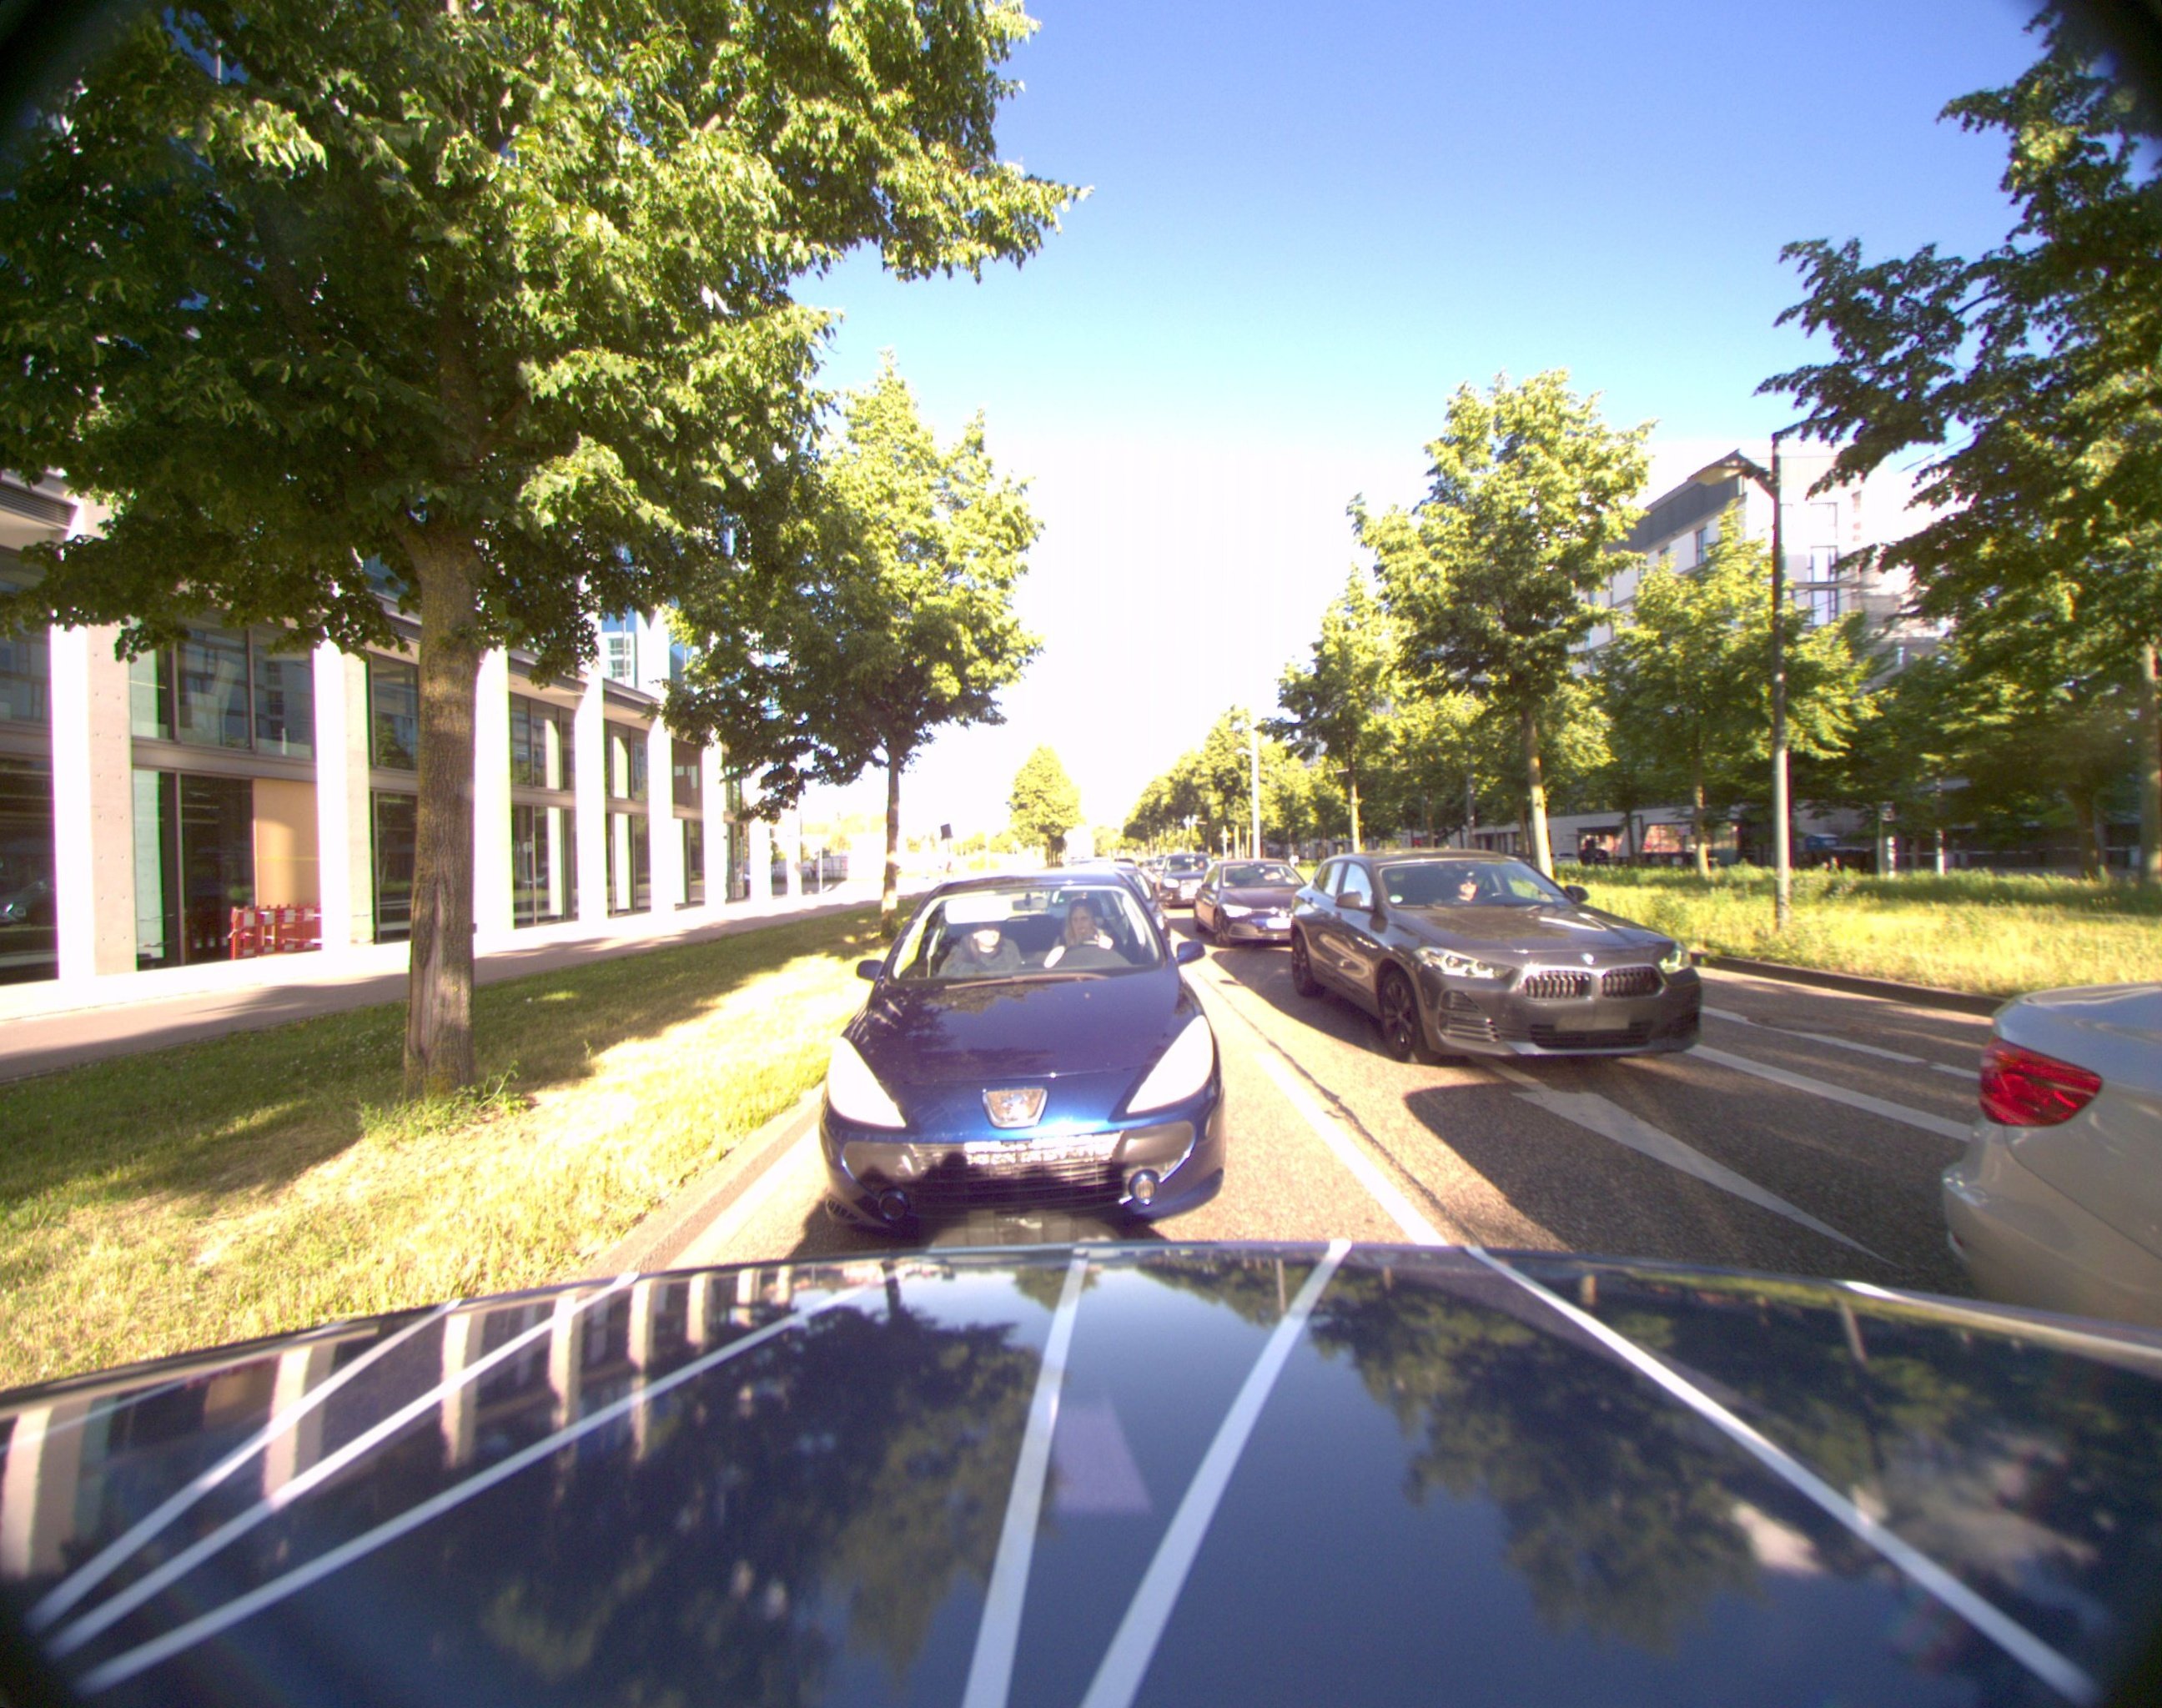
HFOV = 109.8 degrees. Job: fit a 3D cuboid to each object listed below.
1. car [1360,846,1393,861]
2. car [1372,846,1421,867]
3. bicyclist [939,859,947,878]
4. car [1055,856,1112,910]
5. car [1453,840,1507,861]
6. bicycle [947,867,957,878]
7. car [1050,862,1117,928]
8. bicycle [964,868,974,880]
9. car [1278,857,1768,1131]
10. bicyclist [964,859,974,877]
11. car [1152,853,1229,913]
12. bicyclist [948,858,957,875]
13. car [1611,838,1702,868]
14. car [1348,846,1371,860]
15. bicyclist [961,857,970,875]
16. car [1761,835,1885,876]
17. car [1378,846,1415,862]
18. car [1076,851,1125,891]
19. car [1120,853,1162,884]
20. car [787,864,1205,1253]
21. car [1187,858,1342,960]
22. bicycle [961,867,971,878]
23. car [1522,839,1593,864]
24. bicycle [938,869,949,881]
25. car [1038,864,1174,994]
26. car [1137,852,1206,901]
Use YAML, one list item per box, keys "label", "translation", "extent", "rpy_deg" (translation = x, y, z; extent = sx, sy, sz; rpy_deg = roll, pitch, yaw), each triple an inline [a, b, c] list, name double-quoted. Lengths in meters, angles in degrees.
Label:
- label: "car"
  translation: [34.707, -0.063, 89.417]
  extent: [2.012, 1.689, 4.791]
  rpy_deg: [-1, 0, -1]
- label: "car"
  translation: [24.440, 0.153, 58.967]
  extent: [1.858, 1.528, 4.735]
  rpy_deg: [-1, 0, 1]
- label: "bicyclist"
  translation: [-9.678, 1.002, 53.362]
  extent: [0.448, 1.282, 0.418]
  rpy_deg: [-2, 1, 1]
- label: "car"
  translation: [0.098, 0.893, 25.119]
  extent: [1.705, 1.591, 3.785]
  rpy_deg: [-1, 0, 1]
- label: "car"
  translation: [34.637, -0.282, 66.110]
  extent: [2.012, 1.689, 4.791]
  rpy_deg: [-1, 0, -3]
- label: "bicycle"
  translation: [-9.733, 1.386, 57.533]
  extent: [0.464, 0.813, 1.344]
  rpy_deg: [-2, 1, 1]
- label: "car"
  translation: [0.083, 0.907, 18.214]
  extent: [1.407, 1.326, 3.785]
  rpy_deg: [-1, 0, 1]
- label: "bicycle"
  translation: [-7.900, 1.390, 53.672]
  extent: [0.464, 0.813, 1.344]
  rpy_deg: [-2, 1, 1]
- label: "car"
  translation: [3.080, 0.822, 6.411]
  extent: [1.812, 1.513, 4.029]
  rpy_deg: [-1, 0, 1]
- label: "bicyclist"
  translation: [-7.928, 0.967, 53.698]
  extent: [0.534, 1.210, 0.507]
  rpy_deg: [-2, 1, 1]
- label: "car"
  translation: [3.177, 0.787, 22.755]
  extent: [1.812, 1.581, 4.165]
  rpy_deg: [-1, 0, 2]
- label: "bicyclist"
  translation: [-9.709, 0.956, 57.499]
  extent: [0.534, 1.282, 0.457]
  rpy_deg: [-2, 1, 1]
- label: "car"
  translation: [34.424, -0.047, 45.647]
  extent: [1.858, 1.674, 4.792]
  rpy_deg: [-1, 0, 1]
- label: "car"
  translation: [34.574, -0.172, 94.376]
  extent: [1.601, 1.659, 3.743]
  rpy_deg: [-1, 0, 1]
- label: "bicyclist"
  translation: [-8.771, 0.916, 57.903]
  extent: [0.534, 1.282, 0.521]
  rpy_deg: [-2, 1, 1]
- label: "car"
  translation: [34.163, 0.067, 35.164]
  extent: [1.858, 1.739, 4.000]
  rpy_deg: [-1, 0, 1]
- label: "car"
  translation: [34.674, -0.012, 83.610]
  extent: [2.012, 1.689, 4.791]
  rpy_deg: [-1, 0, -1]
- label: "car"
  translation: [0.809, 0.718, 34.701]
  extent: [2.012, 1.689, 4.791]
  rpy_deg: [-1, 0, -1]
- label: "car"
  translation: [3.463, 0.813, 44.662]
  extent: [2.012, 1.689, 4.791]
  rpy_deg: [-1, 0, -1]
- label: "car"
  translation: [-0.323, 0.870, 5.025]
  extent: [1.686, 1.513, 3.785]
  rpy_deg: [-1, 0, 1]
- label: "car"
  translation: [3.050, 0.842, 13.542]
  extent: [1.812, 1.445, 4.254]
  rpy_deg: [-1, 0, 2]
- label: "bicycle"
  translation: [-8.770, 1.388, 57.838]
  extent: [0.464, 0.813, 1.344]
  rpy_deg: [-2, 1, 1]
- label: "car"
  translation: [34.838, -0.181, 55.771]
  extent: [2.012, 1.689, 4.791]
  rpy_deg: [-1, 0, -3]
- label: "bicycle"
  translation: [-9.647, 1.461, 53.327]
  extent: [0.415, 0.813, 1.320]
  rpy_deg: [-2, 1, 1]
- label: "car"
  translation: [0.336, 0.941, 11.415]
  extent: [1.612, 1.463, 4.395]
  rpy_deg: [-1, 0, 1]
- label: "car"
  translation: [3.380, 0.794, 29.271]
  extent: [2.012, 1.689, 4.791]
  rpy_deg: [-1, 0, -1]
